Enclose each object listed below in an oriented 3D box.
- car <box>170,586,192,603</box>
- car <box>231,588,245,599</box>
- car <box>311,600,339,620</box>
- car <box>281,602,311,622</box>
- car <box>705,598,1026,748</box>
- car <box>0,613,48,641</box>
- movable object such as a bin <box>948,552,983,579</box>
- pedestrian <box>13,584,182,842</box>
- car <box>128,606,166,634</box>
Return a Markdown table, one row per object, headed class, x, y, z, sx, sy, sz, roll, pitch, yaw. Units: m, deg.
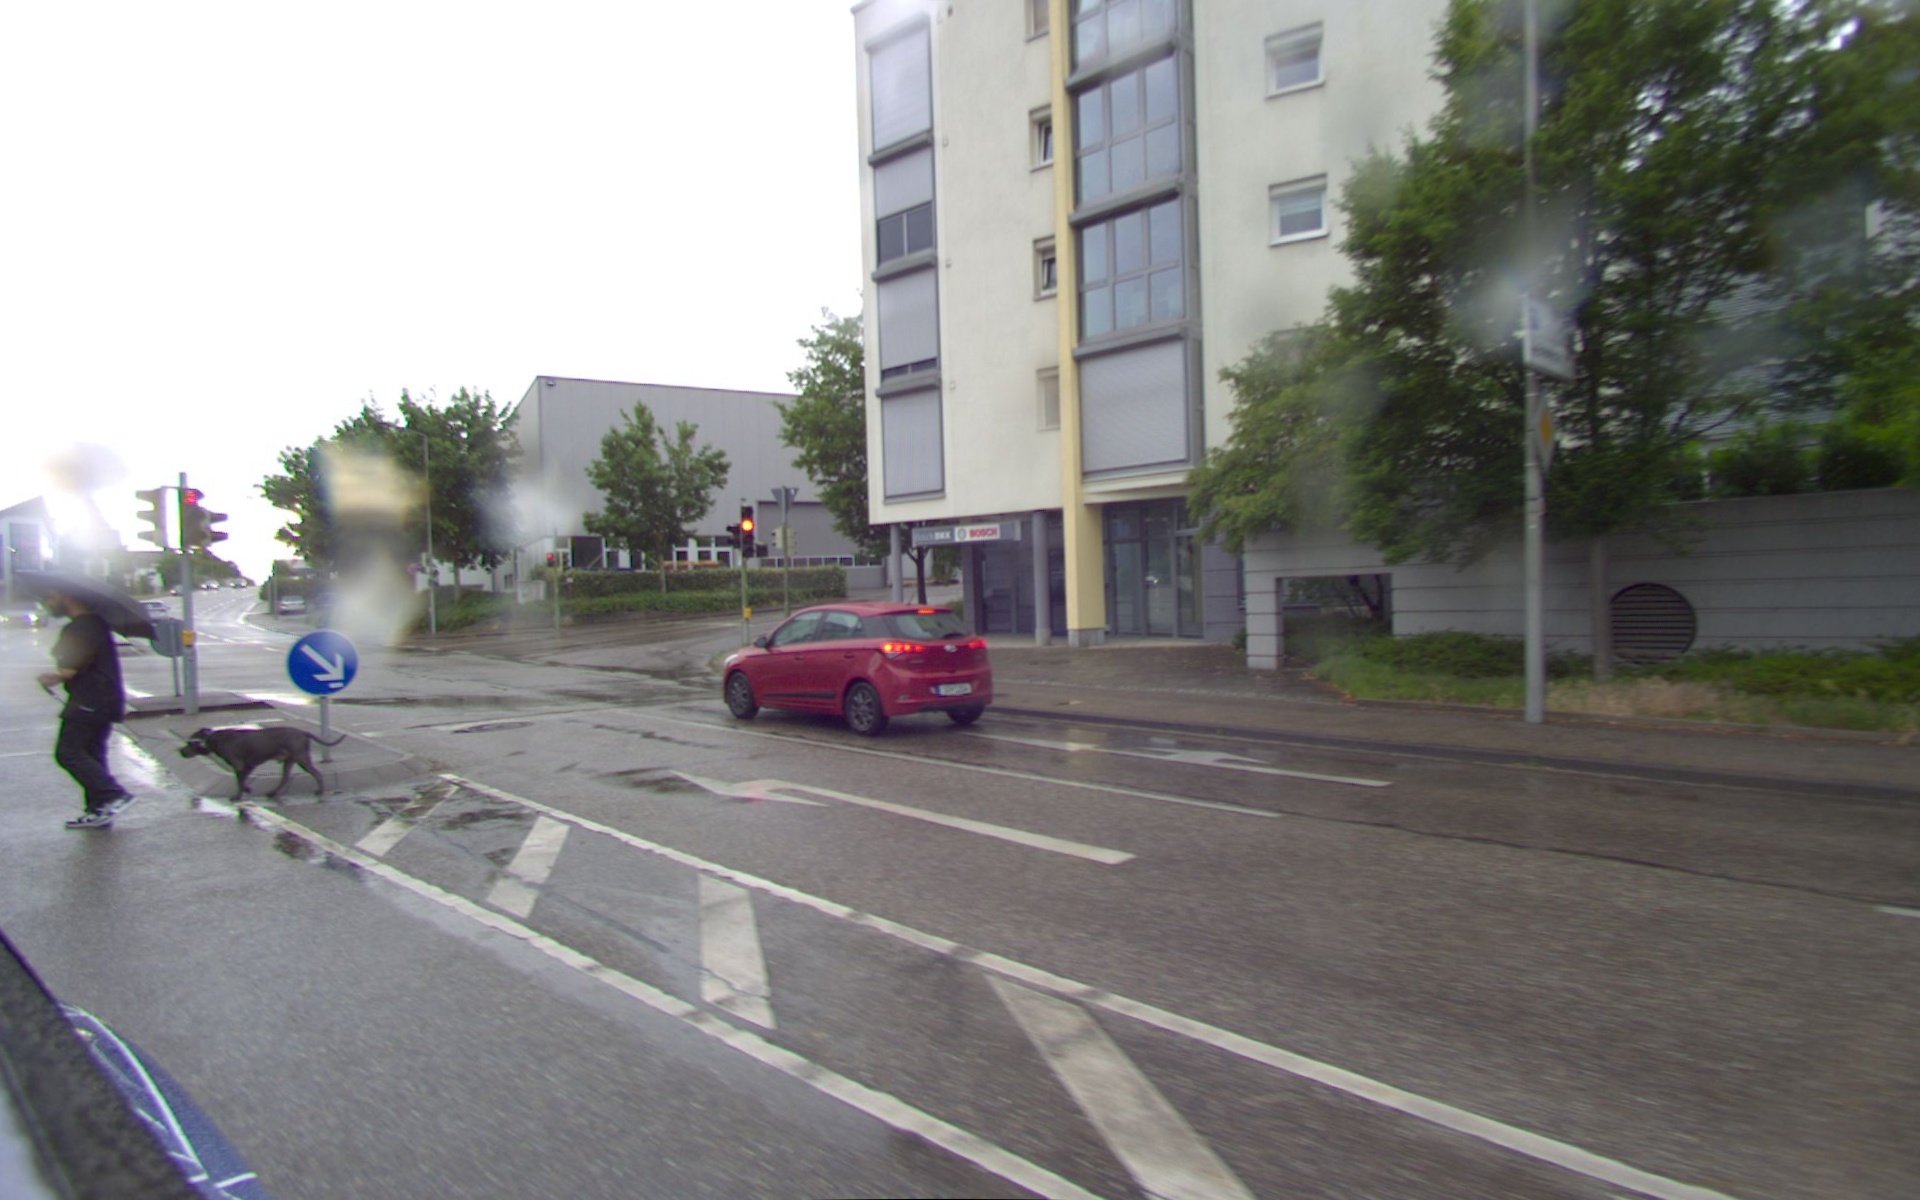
| class | x | y | z | sx | sy | sz | roll | pitch | yaw |
| --- | --- | --- | --- | --- | --- | --- | --- | --- | --- |
| car | -103.975 | -0.788 | 135.122 | 1.968 | 2.028 | 4.010 | -7 | 4 | -35 |
| car | -121.704 | -1.077 | 170.714 | 1.800 | 1.700 | 4.010 | -1 | 0 | -34 |
| car | -51.736 | 0.784 | 82.509 | 1.708 | 1.489 | 4.033 | -3 | 1 | -30 |
| car | -53.380 | 0.915 | 81.402 | 1.708 | 1.489 | 4.033 | -3 | 1 | -30 |
| car | -1.291 | 0.781 | 12.394 | 1.754 | 1.518 | 4.107 | 1 | -2 | -44 |
| car | -57.142 | 1.615 | 61.747 | 1.869 | 1.556 | 4.029 | -3 | 1 | -38 |
| movable object such as a bin | 0.305 | -2.118 | 61.849 | 1.562 | 1.546 | 1.453 | -4 | 2 | -30 |
| pedestrian | -6.234 | 0.757 | 7.369 | 0.657 | 1.715 | 0.950 | -3 | 1 | -27 |
| car | -51.270 | 1.249 | 63.869 | 1.667 | 1.566 | 3.915 | -4 | 3 | -37 |
